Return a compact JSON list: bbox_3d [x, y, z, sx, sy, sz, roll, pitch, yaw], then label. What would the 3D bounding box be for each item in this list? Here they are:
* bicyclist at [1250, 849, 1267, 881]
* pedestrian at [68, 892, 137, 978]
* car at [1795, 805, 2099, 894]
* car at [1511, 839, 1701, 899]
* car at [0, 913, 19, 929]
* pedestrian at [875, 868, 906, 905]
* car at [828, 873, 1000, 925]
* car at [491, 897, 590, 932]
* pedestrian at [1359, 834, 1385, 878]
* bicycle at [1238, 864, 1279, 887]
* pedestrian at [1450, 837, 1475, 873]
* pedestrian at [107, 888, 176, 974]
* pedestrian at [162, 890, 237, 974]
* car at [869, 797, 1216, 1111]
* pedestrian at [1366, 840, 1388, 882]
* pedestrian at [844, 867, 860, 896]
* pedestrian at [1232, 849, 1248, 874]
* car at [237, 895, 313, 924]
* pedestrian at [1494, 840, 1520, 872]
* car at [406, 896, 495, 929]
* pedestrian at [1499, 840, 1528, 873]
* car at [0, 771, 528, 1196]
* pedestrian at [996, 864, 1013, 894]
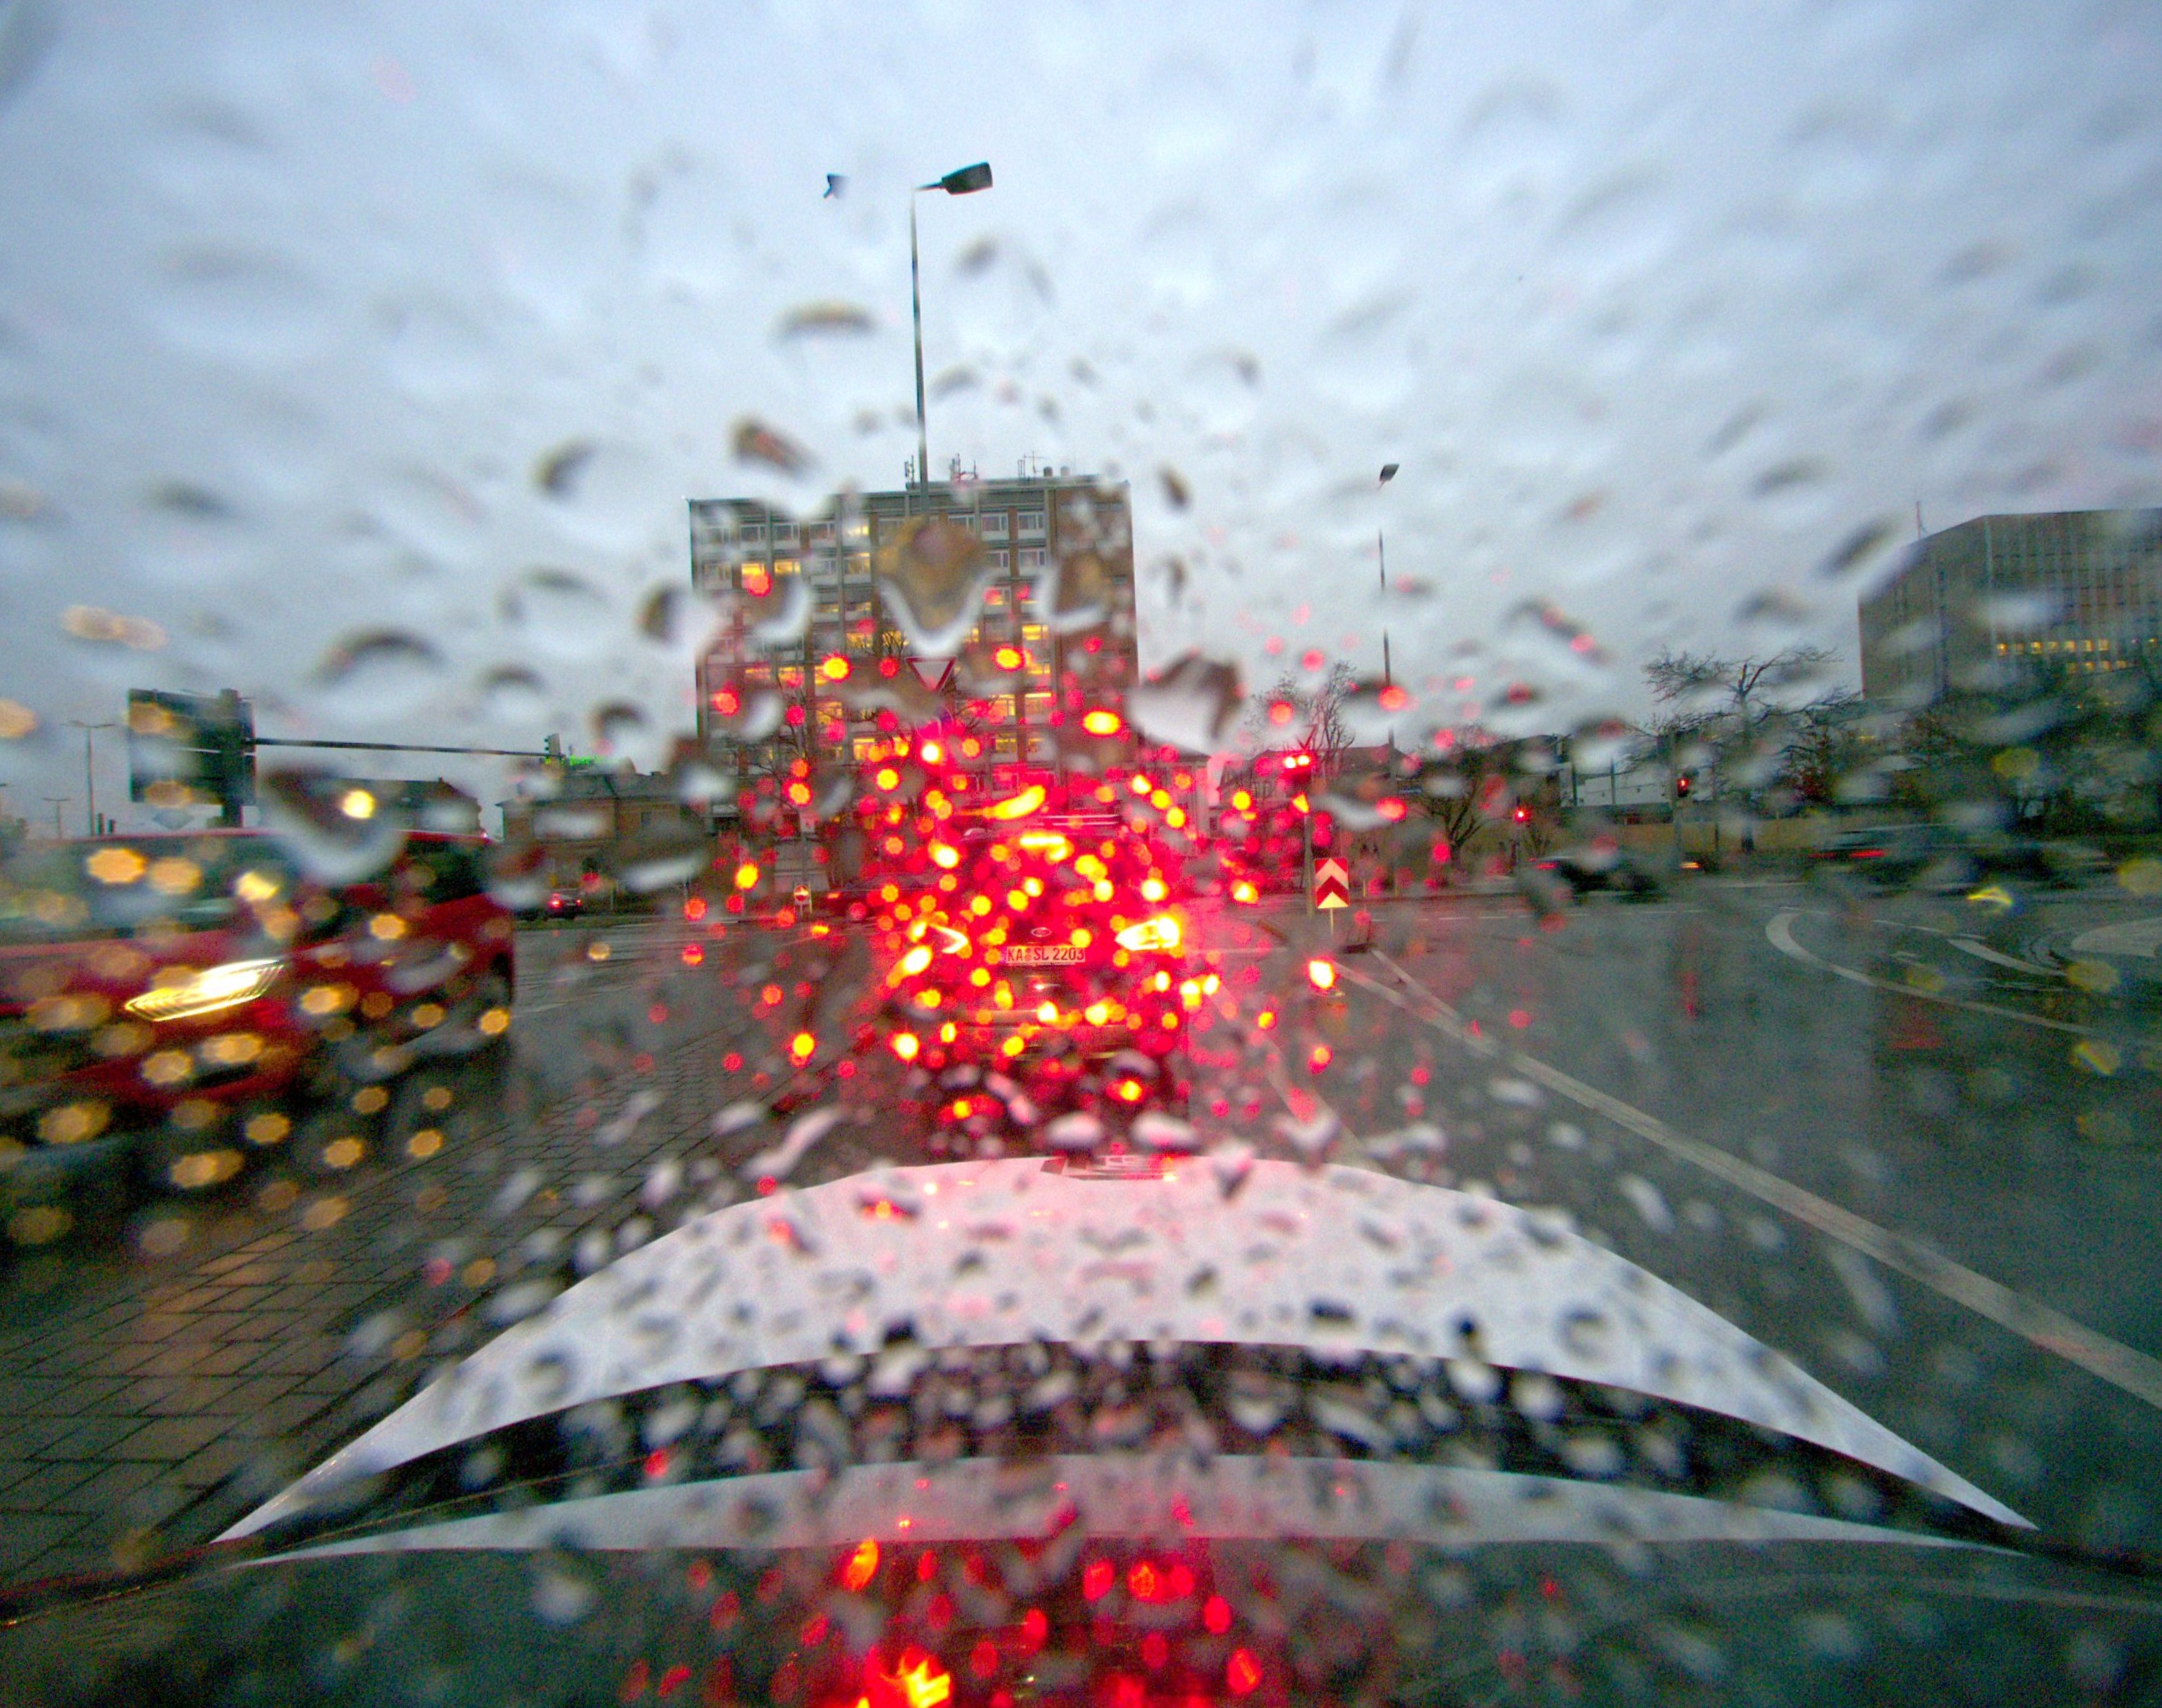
[{"bbox_3d":[8.987,0.554,41.279,0.679,1.599,0.663,-3,0,20],"label":"bicyclist"},{"bbox_3d":[-21.329,1.748,17.760,0.542,1.770,0.746,-3,0,15],"label":"pedestrian"},{"bbox_3d":[18.097,-0.065,17.239,4.099,1.582,1.846,-3,-1,9],"label":"car"},{"bbox_3d":[13.487,0.387,21.126,3.731,1.302,1.706,-3,-1,10],"label":"car"},{"bbox_3d":[-116.585,7.280,88.243,3.948,1.509,1.750,-3,0,39],"label":"car"},{"bbox_3d":[-10.097,1.720,43.189,0.992,1.842,1.146,-3,2,25],"label":"pedestrian"},{"bbox_3d":[-5.035,1.351,24.770,4.650,1.302,1.946,-3,-1,14],"label":"car"},{"bbox_3d":[-26.917,2.991,40.596,3.959,1.568,1.833,-1,-1,13],"label":"car"},{"bbox_3d":[14.545,0.081,40.721,0.890,2.113,0.886,-3,0,2],"label":"pedestrian"},{"bbox_3d":[9.007,1.089,41.288,1.867,1.048,0.663,-3,0,20],"label":"bicycle"},{"bbox_3d":[19.326,0.046,41.299,0.988,1.799,0.924,-3,0,19],"label":"pedestrian"},{"bbox_3d":[-21.289,1.735,18.464,0.669,1.838,0.738,-3,0,16],"label":"pedestrian"},{"bbox_3d":[-19.541,1.709,18.071,0.653,1.755,0.856,-3,0,18],"label":"pedestrian"},{"bbox_3d":[-0.161,0.590,6.685,1.986,1.789,4.001,0,-1,2],"label":"car"},{"bbox_3d":[15.129,0.349,41.672,0.887,2.113,0.889,-3,0,13],"label":"pedestrian"},{"bbox_3d":[-13.991,1.694,49.742,0.634,1.688,0.640,-3,0,18],"label":"pedestrian"},{"bbox_3d":[10.619,0.496,54.275,0.712,1.628,0.767,-3,0,34],"label":"pedestrian"},{"bbox_3d":[-53.093,3.621,53.661,1.505,1.702,3.411,-1,-1,39],"label":"car"},{"bbox_3d":[21.439,0.100,41.027,0.887,1.533,0.889,-3,0,13],"label":"pedestrian"},{"bbox_3d":[-33.327,3.059,43.073,3.954,1.568,1.836,-1,-1,20],"label":"car"},{"bbox_3d":[21.223,0.109,40.006,0.918,1.533,1.046,-3,0,11],"label":"pedestrian"},{"bbox_3d":[-6.094,0.692,6.198,1.931,2.070,4.612,-3,0,-20],"label":"car"},{"bbox_3d":[-4.413,1.444,46.892,0.754,1.628,0.559,-3,0,14],"label":"pedestrian"}]
